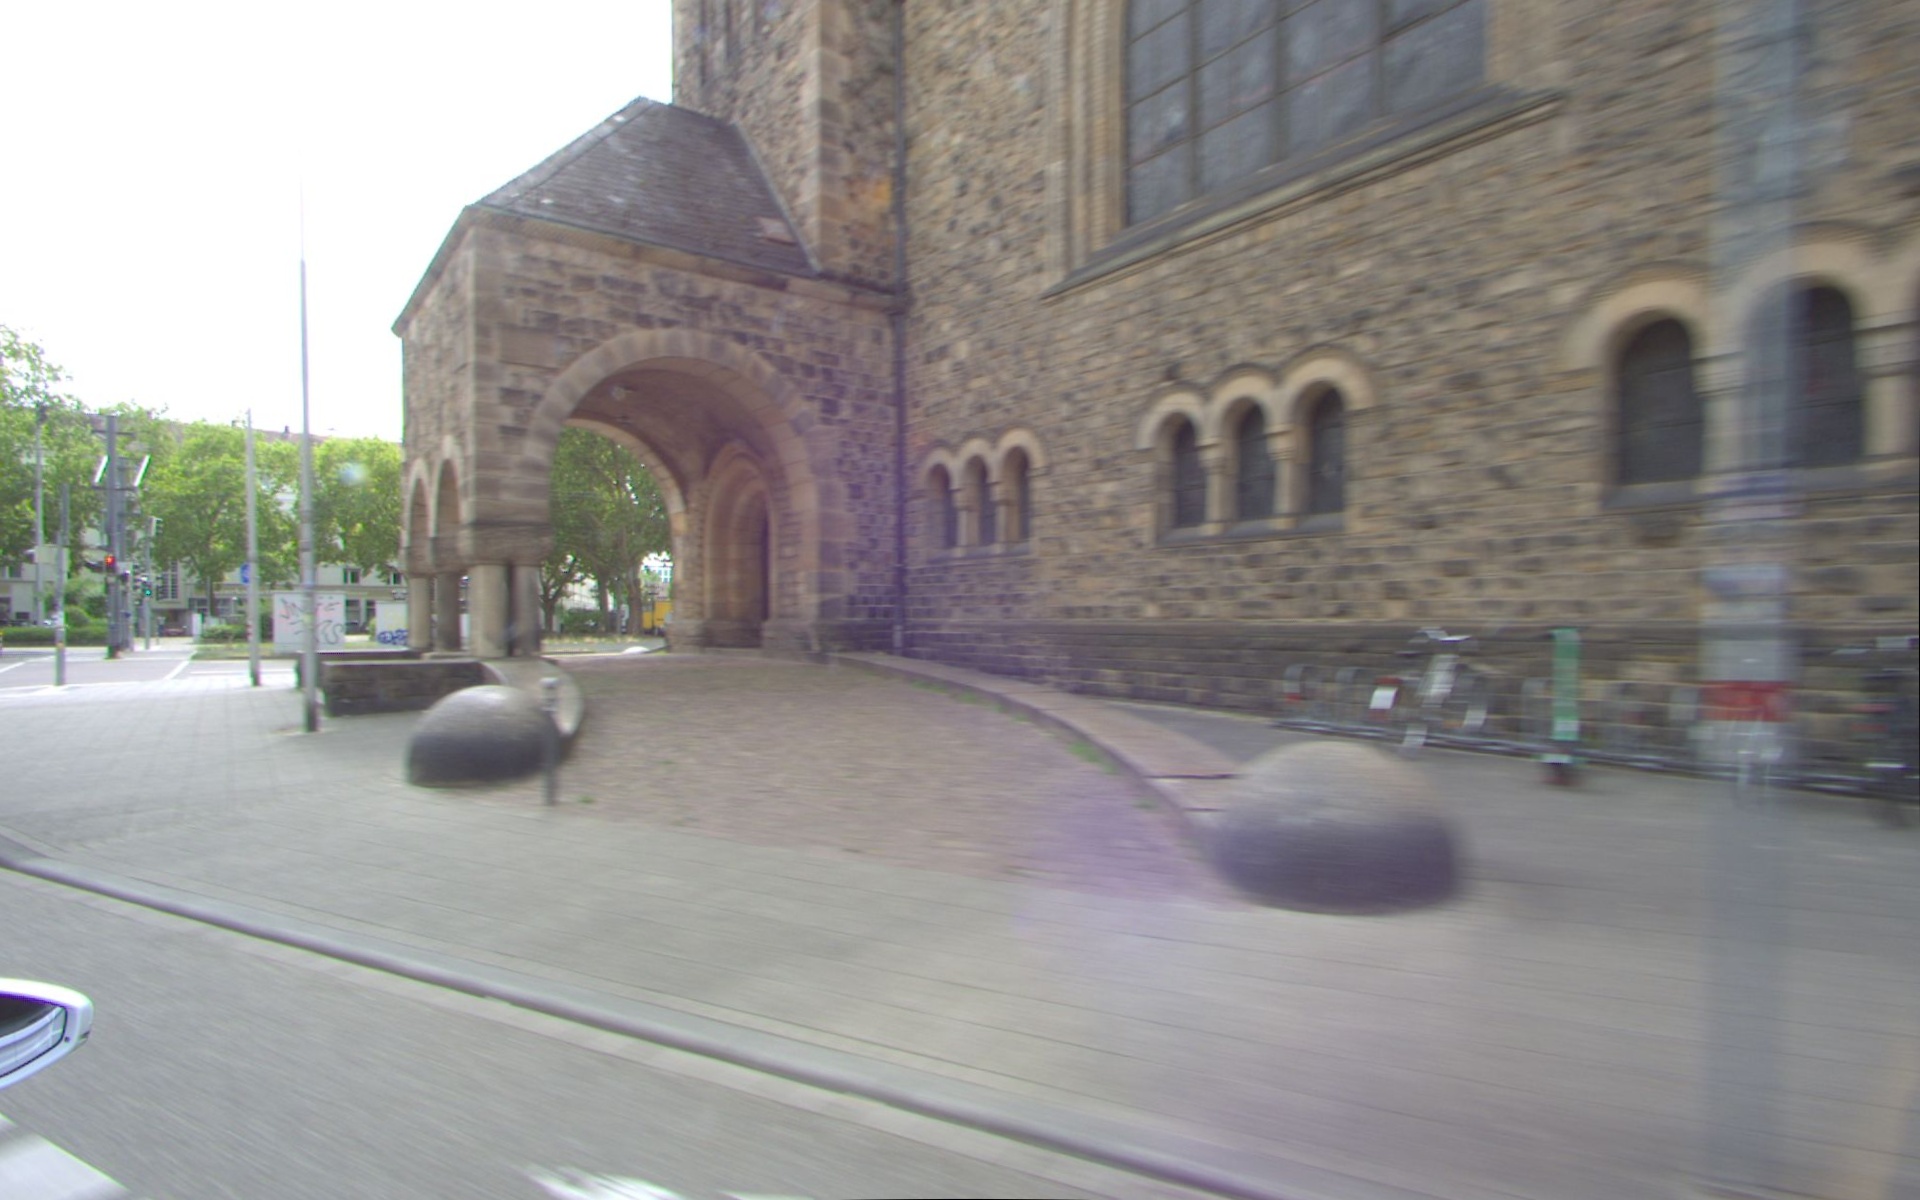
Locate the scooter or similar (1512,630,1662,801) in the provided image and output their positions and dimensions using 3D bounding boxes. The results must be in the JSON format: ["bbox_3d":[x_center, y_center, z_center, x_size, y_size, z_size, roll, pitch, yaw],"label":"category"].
[{"bbox_3d":[4.895,0.829,7.772,1.764,1.155,0.541,0,0,-43],"label":"scooter or similar"}]

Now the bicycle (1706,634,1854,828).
[{"bbox_3d":[5.622,0.817,6.829,1.764,1.126,0.541,0,0,-43],"label":"bicycle"}]

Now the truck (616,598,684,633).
[{"bbox_3d":[-24.170,1.208,77.892,3.044,2.611,6.461,0,-1,-37],"label":"truck"}]

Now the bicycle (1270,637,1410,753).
[{"bbox_3d":[3.696,0.871,9.663,1.764,0.970,0.541,0,0,-43],"label":"bicycle"}]

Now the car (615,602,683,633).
[{"bbox_3d":[-27.216,1.537,87.767,5.276,2.617,2.163,1,-2,-39],"label":"car"}]

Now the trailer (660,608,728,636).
[{"bbox_3d":[-19.236,1.589,72.439,4.382,1.951,1.841,0,0,-37],"label":"trailer"}]

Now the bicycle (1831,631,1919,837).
[{"bbox_3d":[6.012,0.784,6.356,1.757,1.126,0.541,0,0,-43],"label":"bicycle"}]

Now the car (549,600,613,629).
[{"bbox_3d":[-36.514,1.406,96.449,5.276,2.617,2.479,1,-2,-39],"label":"car"}]

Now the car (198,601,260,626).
[{"bbox_3d":[-58.023,1.050,79.558,3.951,1.907,1.844,0,0,-37],"label":"car"}]

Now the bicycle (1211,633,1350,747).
[{"bbox_3d":[3.295,0.873,10.202,1.763,0.970,0.541,-2,2,-43],"label":"bicycle"}]

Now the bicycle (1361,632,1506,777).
[{"bbox_3d":[4.223,0.868,8.871,1.764,1.126,0.541,0,0,-43],"label":"bicycle"}]
